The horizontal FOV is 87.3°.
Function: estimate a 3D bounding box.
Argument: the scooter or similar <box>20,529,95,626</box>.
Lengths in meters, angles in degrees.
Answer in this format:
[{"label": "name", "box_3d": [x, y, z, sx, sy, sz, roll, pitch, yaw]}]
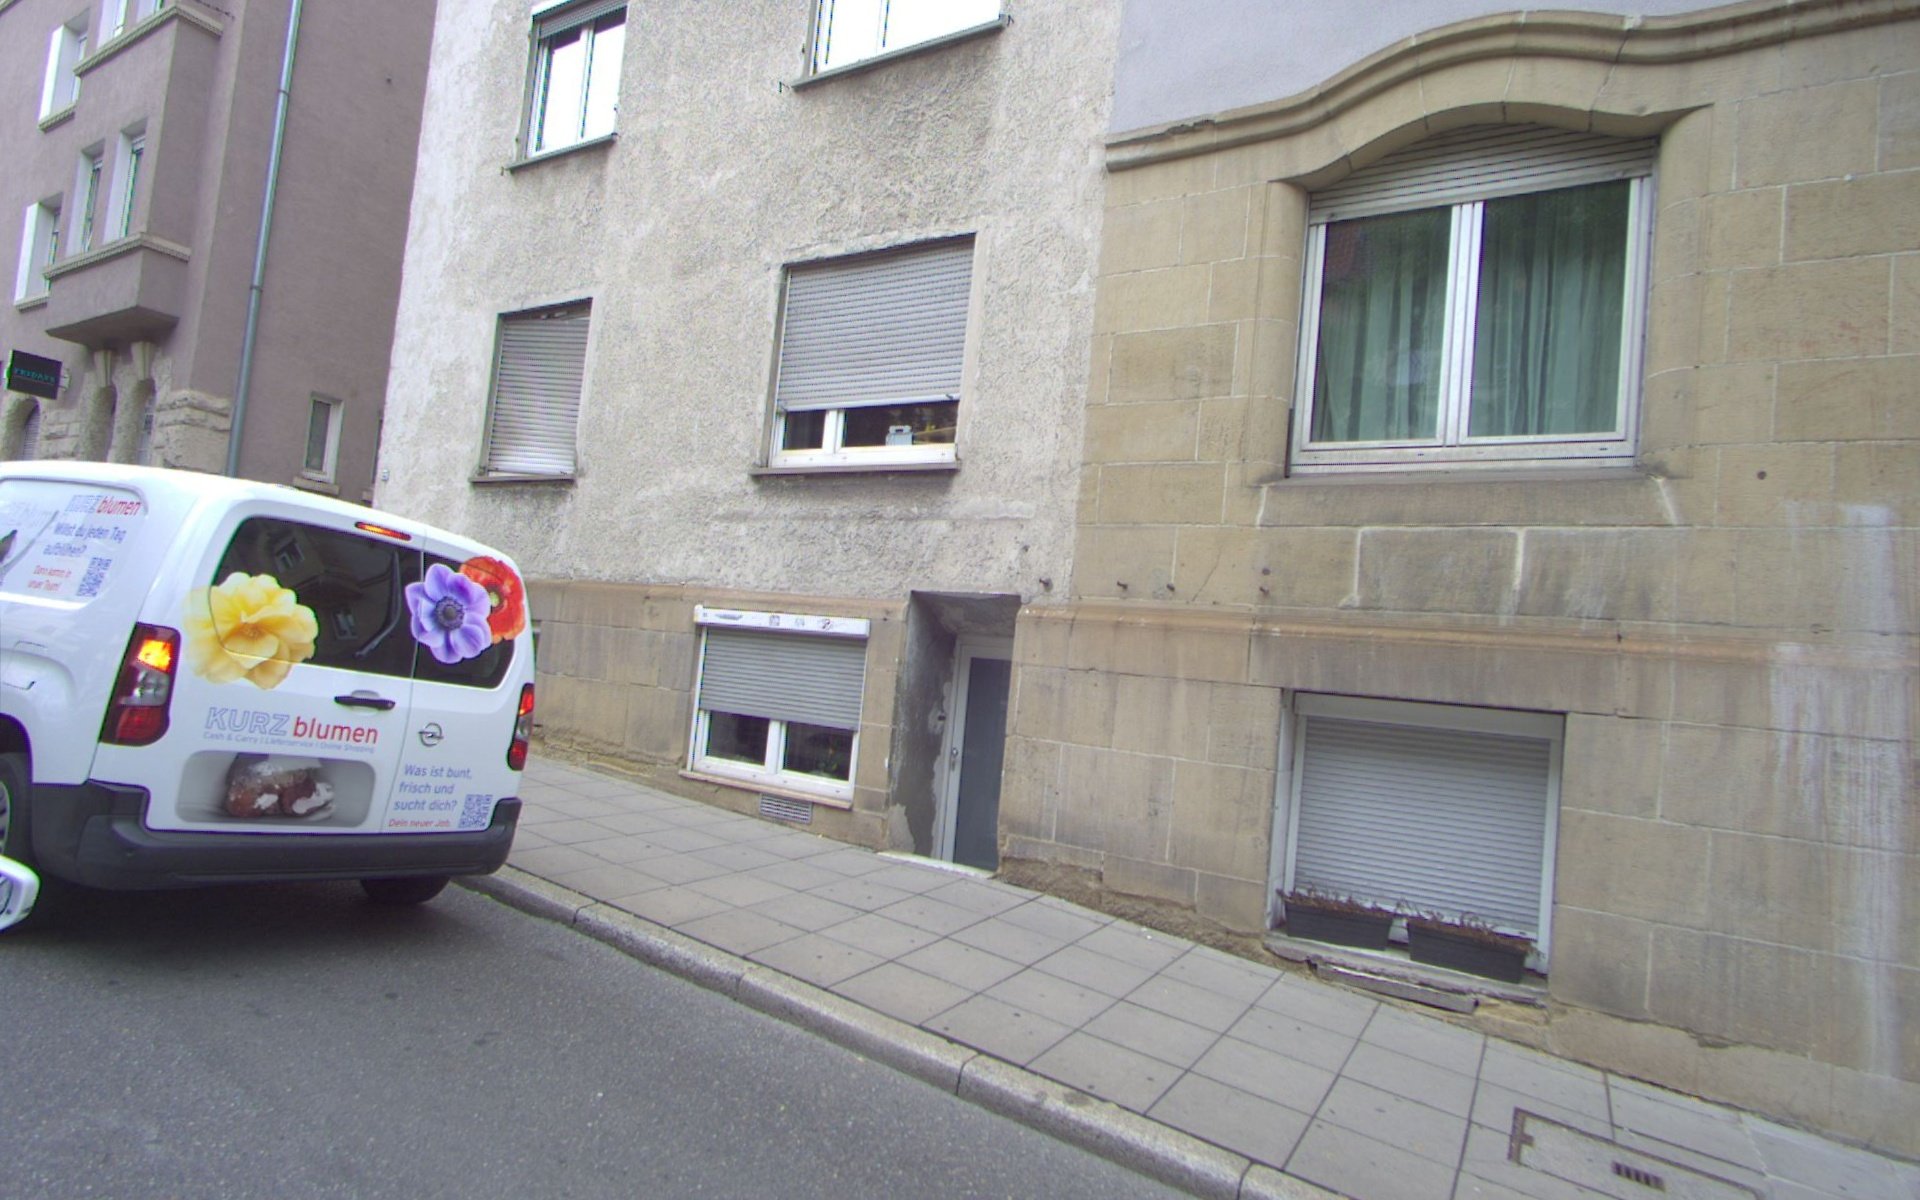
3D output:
[{"label": "scooter or similar", "box_3d": [-12.817, -0.331, 14.275, 1.333, 1.202, 0.401, 9, 0, 36]}]

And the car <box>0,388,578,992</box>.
[{"label": "car", "box_3d": [-4.373, 0.237, 5.219, 4.943, 1.844, 1.853, 5, -5, 36]}]
